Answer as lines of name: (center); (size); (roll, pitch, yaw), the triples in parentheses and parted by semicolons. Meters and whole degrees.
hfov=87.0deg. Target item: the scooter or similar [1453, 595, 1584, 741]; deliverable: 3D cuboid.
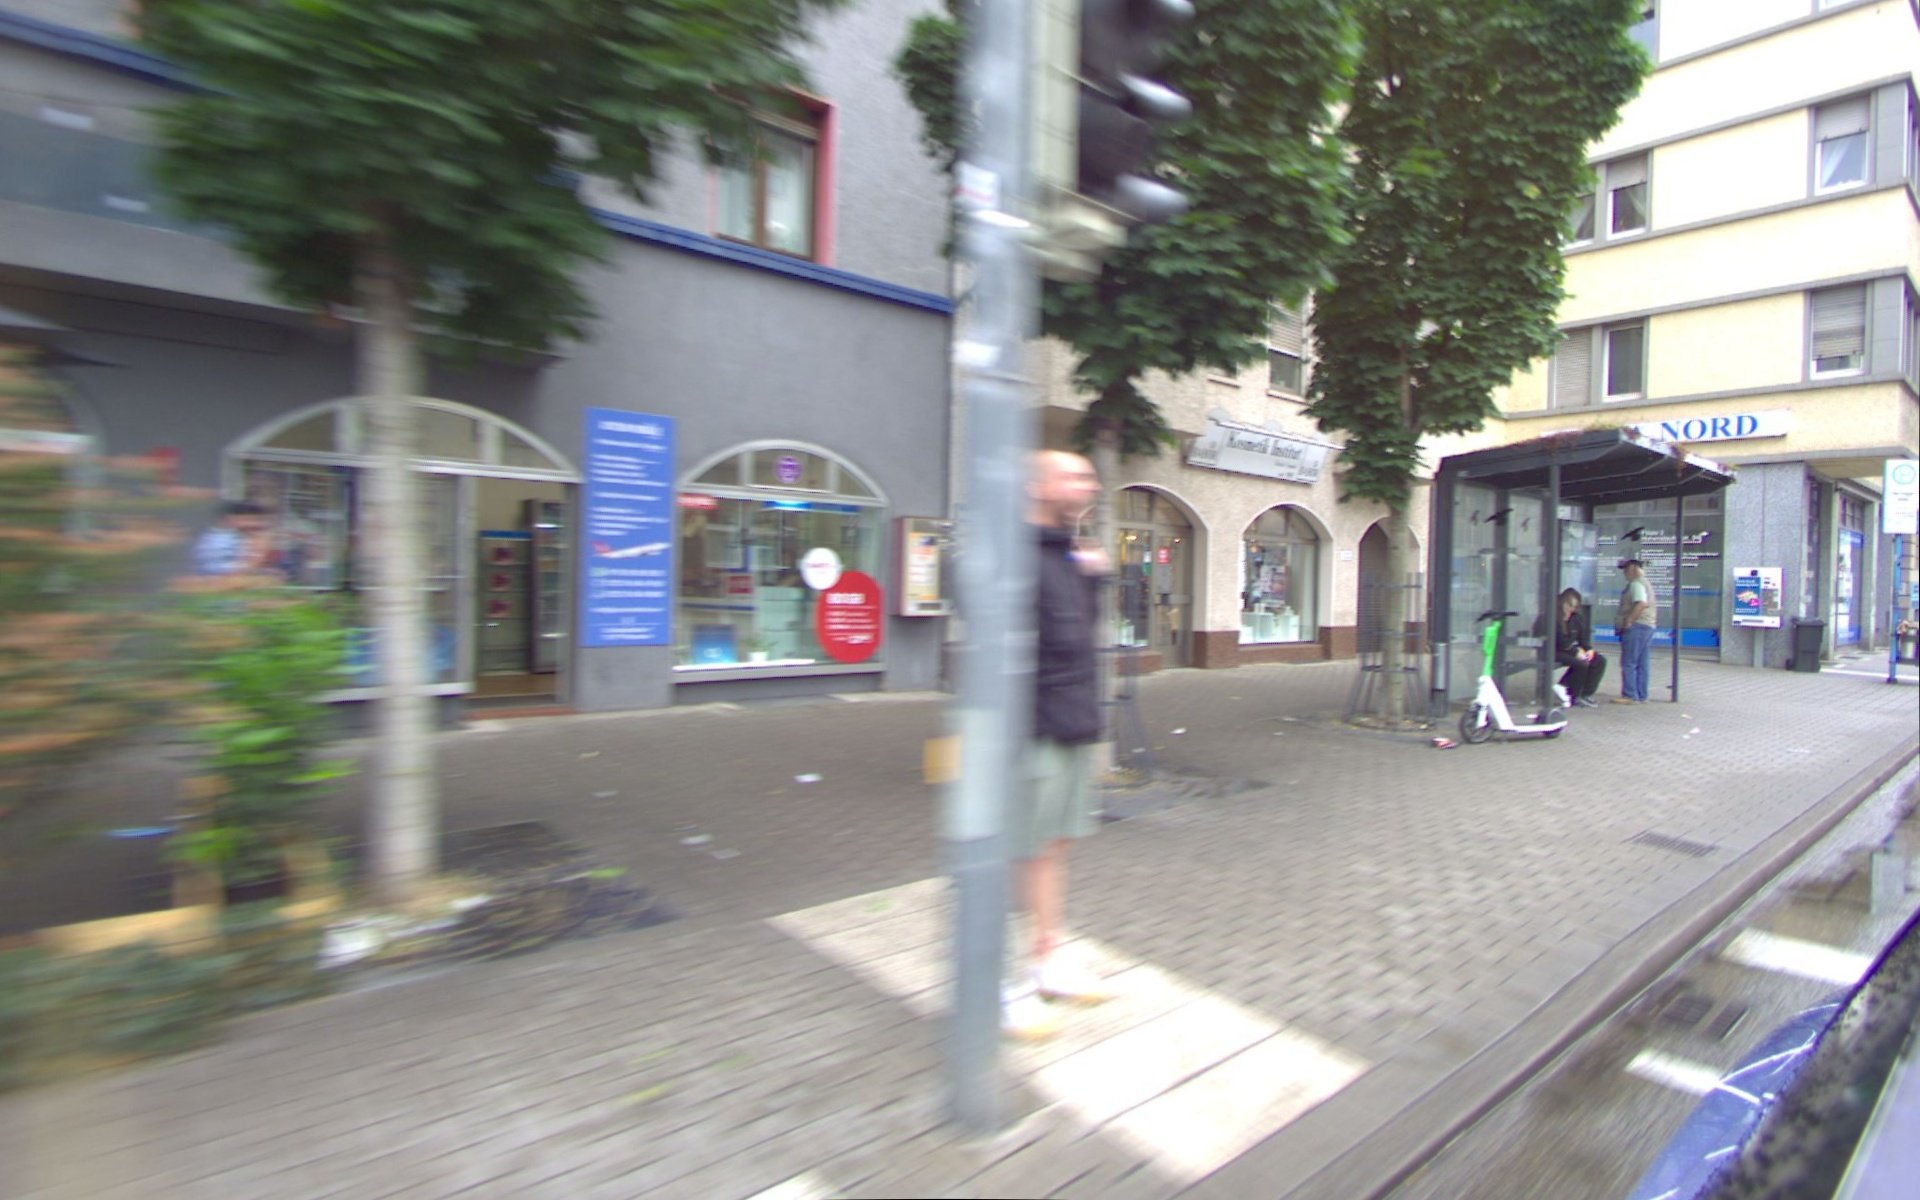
scooter or similar: (5.066, 0.568, 9.142); (1.522, 1.186, 0.512); (-1, 2, -41)

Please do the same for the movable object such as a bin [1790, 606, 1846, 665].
movable object such as a bin: (14.583, 0.583, 17.202); (0.692, 0.937, 0.601); (-1, 2, -41)

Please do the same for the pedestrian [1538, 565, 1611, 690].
pedestrian: (6.981, 0.289, 11.506); (0.586, 1.366, 0.535); (-1, 2, -42)

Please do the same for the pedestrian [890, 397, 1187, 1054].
pedestrian: (0.245, 0.345, 3.344); (0.620, 1.864, 0.734); (-1, 2, -42)

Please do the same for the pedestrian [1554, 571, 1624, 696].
pedestrian: (7.387, 0.369, 11.884); (0.505, 1.414, 0.564); (-1, 2, -43)

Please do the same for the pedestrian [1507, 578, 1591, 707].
pedestrian: (6.453, 0.440, 11.091); (0.614, 1.352, 0.607); (-1, 2, -42)

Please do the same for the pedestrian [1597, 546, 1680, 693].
pedestrian: (8.260, 0.215, 12.319); (0.644, 1.720, 0.621); (0, 2, -36)

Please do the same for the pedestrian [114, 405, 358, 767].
pedestrian: (-4.599, -0.101, 6.441); (1.179, 2.038, 0.898); (-1, 2, -41)
